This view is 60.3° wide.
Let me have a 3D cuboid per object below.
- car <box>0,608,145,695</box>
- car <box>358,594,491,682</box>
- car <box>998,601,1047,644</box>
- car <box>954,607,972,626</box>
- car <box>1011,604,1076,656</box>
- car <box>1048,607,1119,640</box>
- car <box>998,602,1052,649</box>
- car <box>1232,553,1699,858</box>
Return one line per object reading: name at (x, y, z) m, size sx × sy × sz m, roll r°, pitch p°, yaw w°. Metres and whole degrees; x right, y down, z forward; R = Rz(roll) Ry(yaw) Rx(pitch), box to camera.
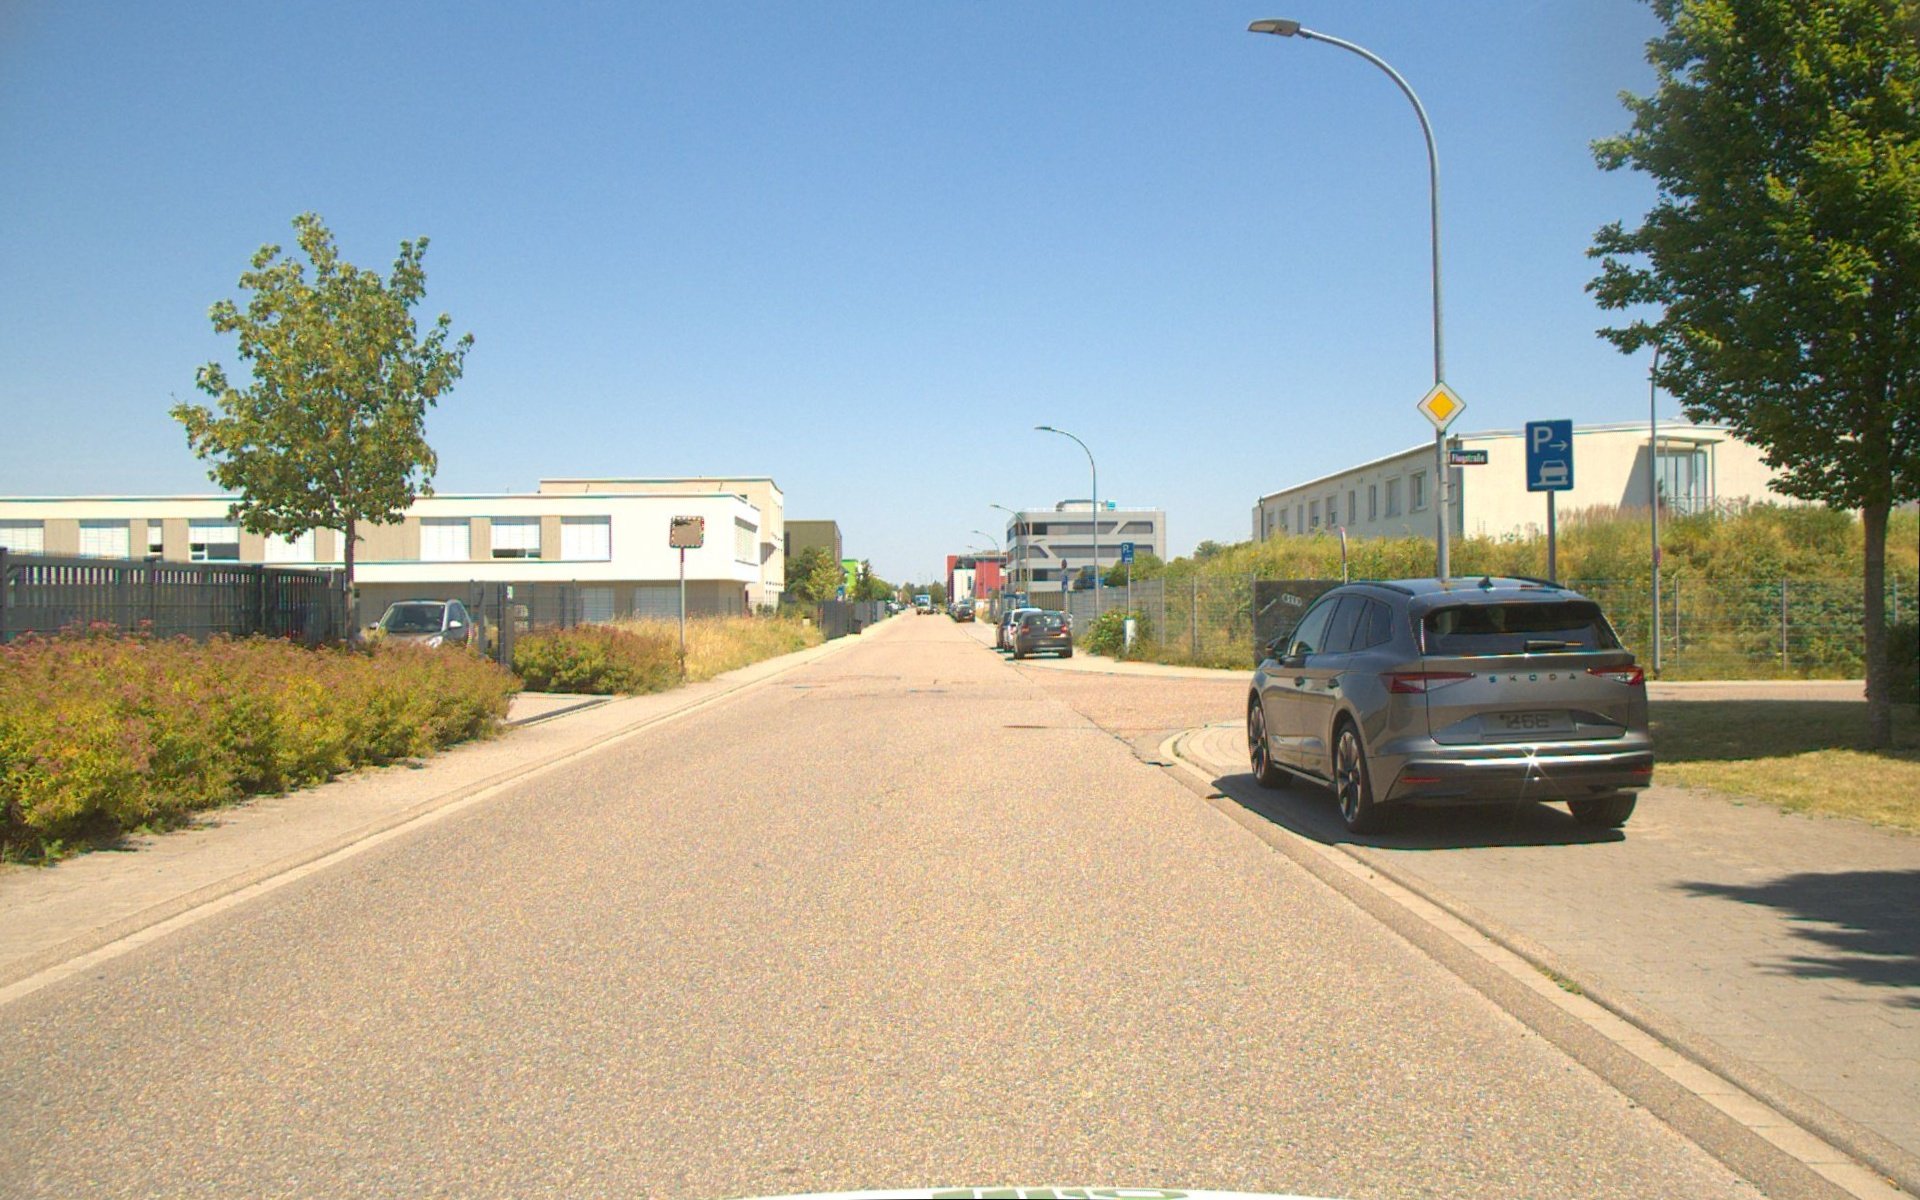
car at (-16.532, 0.889, 30.078) m, size 1.638 × 1.465 × 3.997 m, roll -1°, pitch 0°, yaw -3°
car at (-10.037, 0.684, 31.183) m, size 1.666 × 1.547 × 2.995 m, roll -1°, pitch 0°, yaw -4°
car at (2.495, 0.880, 66.613) m, size 1.868 × 1.573 × 4.001 m, roll -2°, pitch 0°, yaw 2°
car at (0.282, 1.599, 162.129) m, size 1.740 × 1.758 × 3.999 m, roll 1°, pitch 0°, yaw -1°
car at (2.563, 0.887, 51.299) m, size 1.868 × 1.473 × 4.001 m, roll -2°, pitch 0°, yaw 2°
car at (8.047, 1.540, 108.242) m, size 4.529 × 2.049 × 2.607 m, roll 1°, pitch 0°, yaw 2°
car at (2.371, 0.906, 60.679) m, size 1.868 × 1.573 × 4.001 m, roll -2°, pitch 0°, yaw 2°
car at (3.344, 0.608, 11.987) m, size 1.767 × 1.691 × 4.606 m, roll -3°, pitch 0°, yaw -2°
